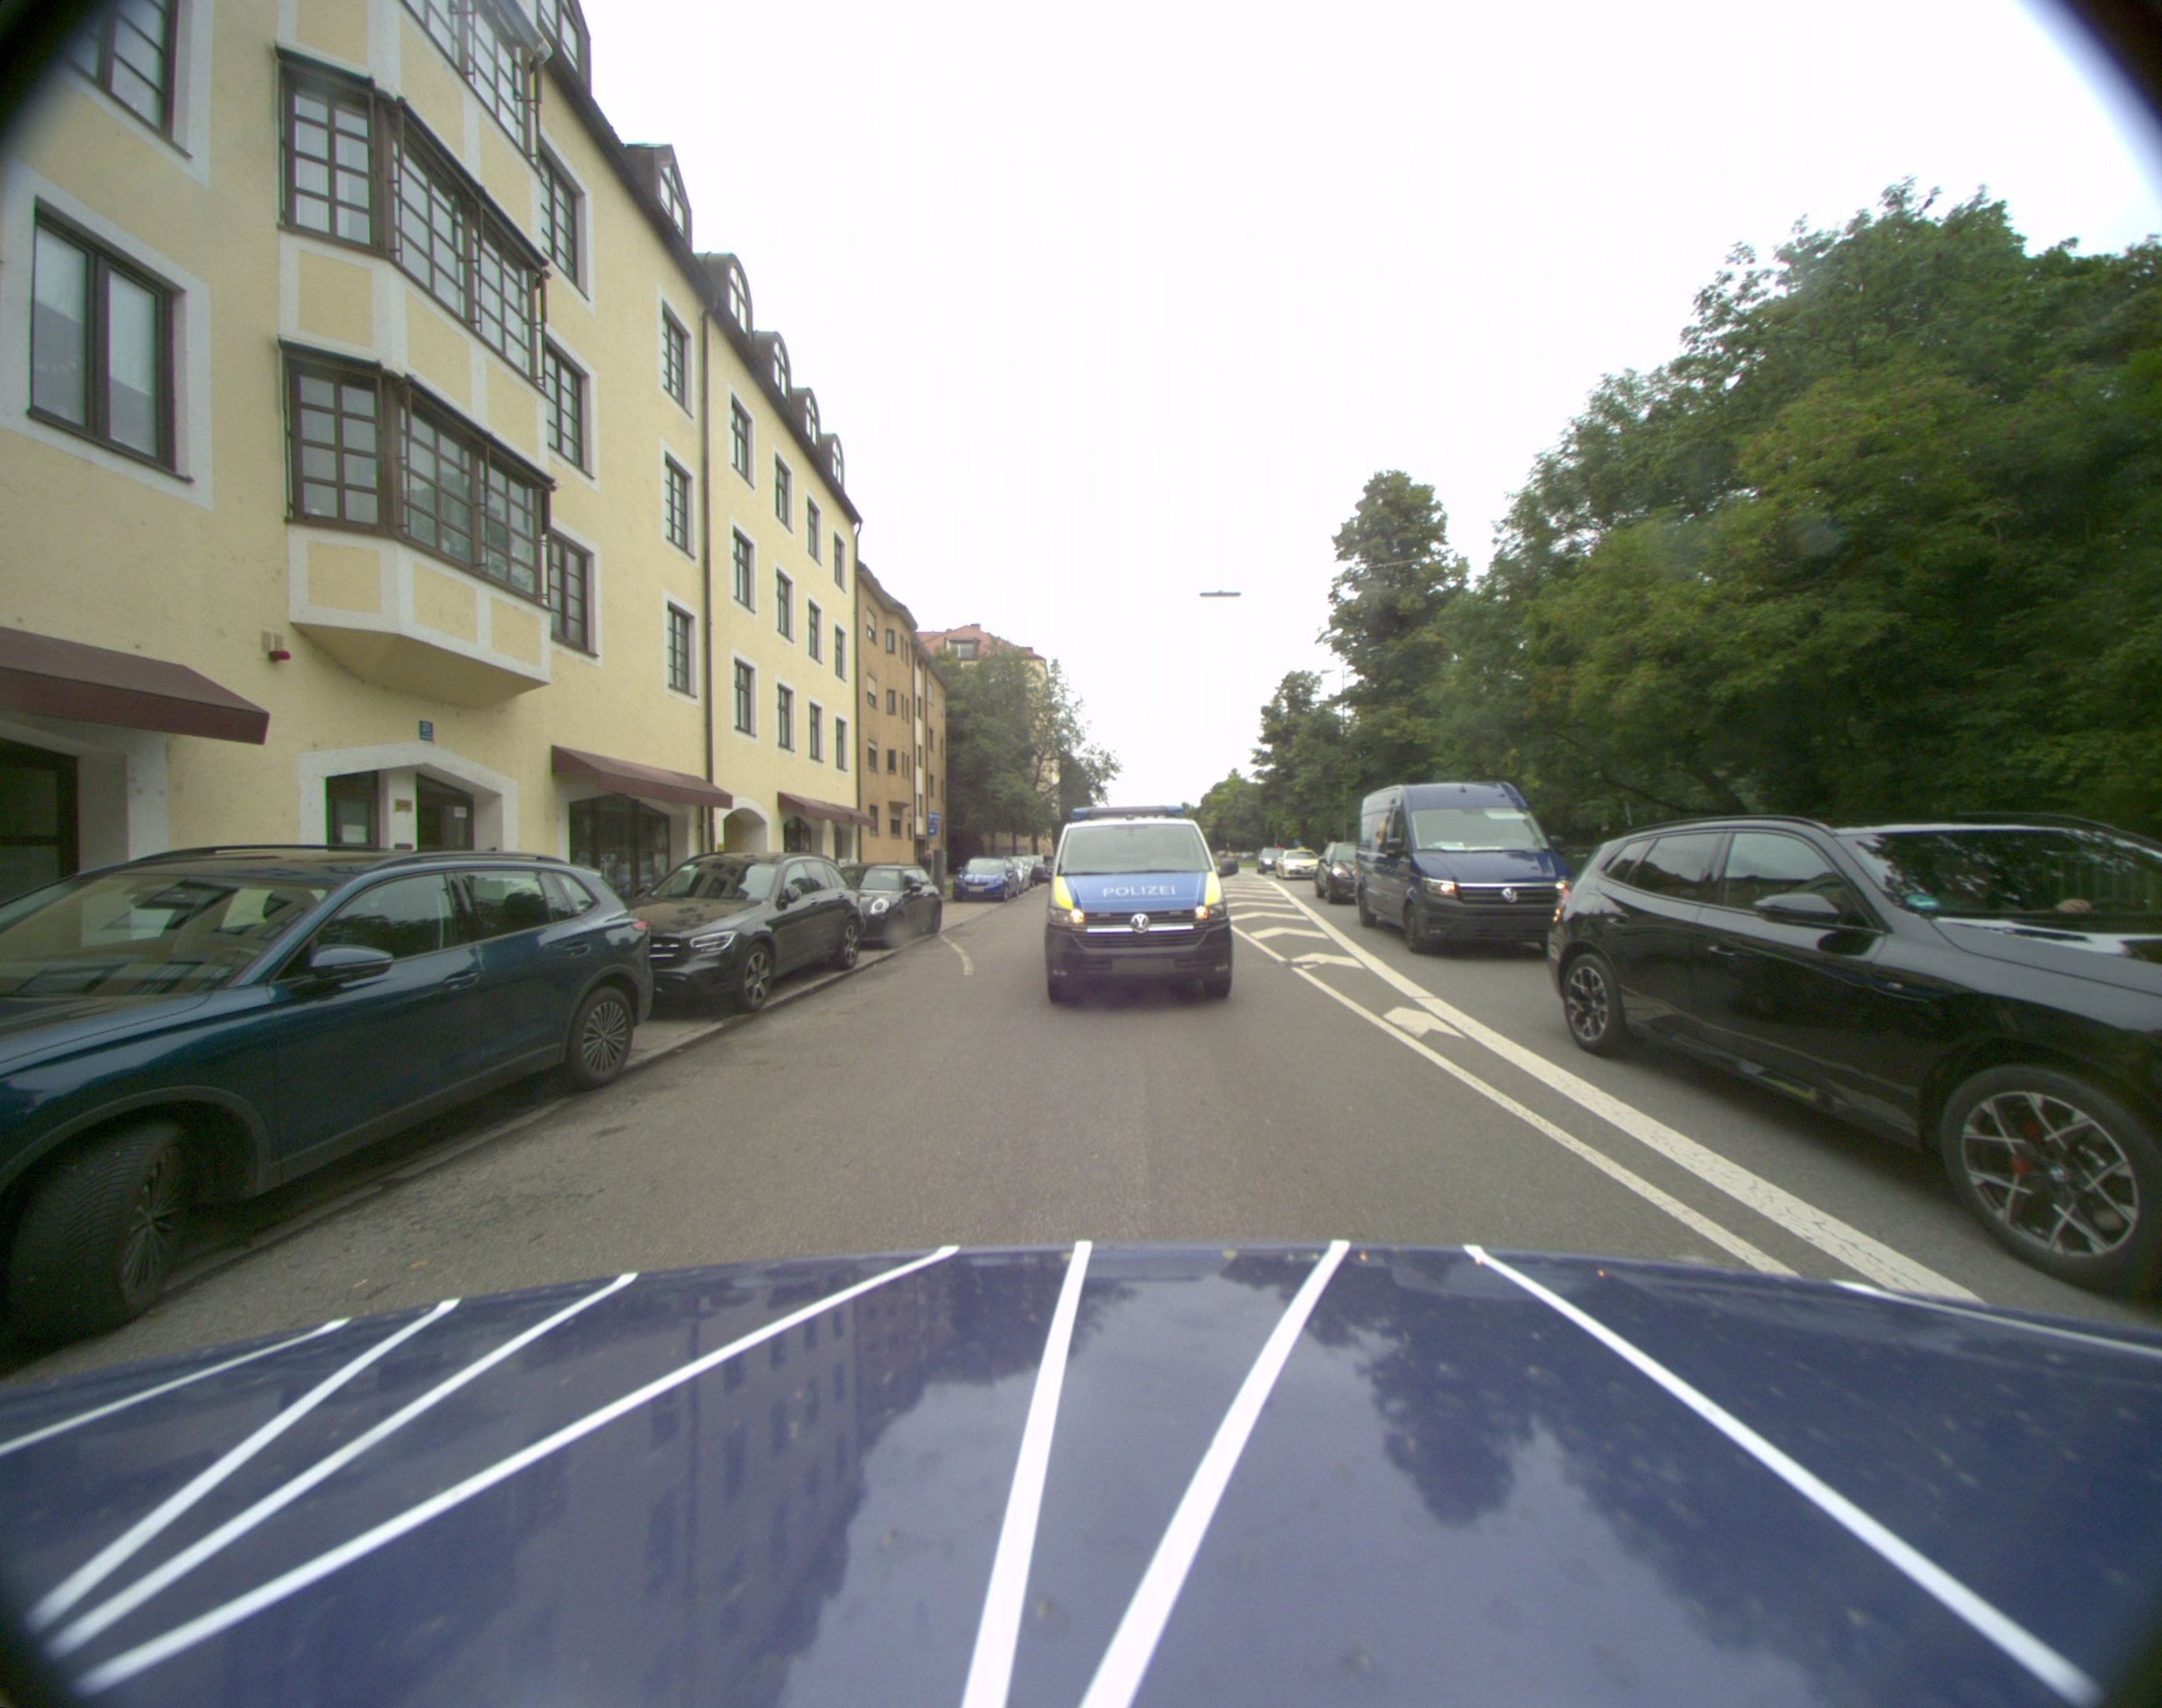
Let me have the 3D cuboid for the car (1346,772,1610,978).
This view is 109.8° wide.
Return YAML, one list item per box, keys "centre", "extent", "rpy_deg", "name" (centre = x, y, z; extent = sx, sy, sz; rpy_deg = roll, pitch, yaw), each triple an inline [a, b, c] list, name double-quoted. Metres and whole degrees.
- centre: [5.891, 0.209, 12.342]
  extent: [2.004, 2.477, 6.236]
  rpy_deg: [-1, 1, 10]
  name: "car"

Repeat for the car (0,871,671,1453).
- centre: [-4.282, 0.965, 3.758]
  extent: [2.112, 1.613, 4.495]
  rpy_deg: [-1, 0, -1]
  name: "car"

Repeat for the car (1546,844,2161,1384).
- centre: [4.276, 0.741, 3.579]
  extent: [1.920, 1.556, 4.295]
  rpy_deg: [0, 1, 7]
  name: "car"

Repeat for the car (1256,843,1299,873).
- centre: [12.438, 0.222, 48.347]
  extent: [2.314, 1.719, 5.219]
  rpy_deg: [-2, 0, 11]
  name: "car"

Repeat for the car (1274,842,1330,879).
- centre: [10.602, 0.277, 36.822]
  extent: [2.102, 1.581, 5.572]
  rpy_deg: [-2, 0, 11]
  name: "car"

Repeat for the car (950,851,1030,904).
- centre: [-3.095, 0.743, 26.997]
  extent: [1.883, 1.642, 5.617]
  rpy_deg: [1, 0, 3]
  name: "car"

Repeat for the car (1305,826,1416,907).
- centre: [7.801, 0.302, 21.821]
  extent: [2.005, 1.925, 5.810]
  rpy_deg: [-3, 0, 11]
  name: "car"

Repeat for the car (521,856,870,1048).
- centre: [-4.100, 0.898, 9.003]
  extent: [1.817, 1.580, 4.164]
  rpy_deg: [4, 1, 2]
  name: "car"

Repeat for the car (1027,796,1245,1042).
- centre: [0.525, 0.543, 9.463]
  extent: [1.826, 2.087, 5.632]
  rpy_deg: [-2, 1, 1]
  name: "car"

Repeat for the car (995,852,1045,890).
- centre: [-2.898, 0.769, 37.120]
  extent: [1.883, 1.642, 4.585]
  rpy_deg: [-2, 0, 2]
  name: "car"

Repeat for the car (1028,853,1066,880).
- centre: [-2.057, 0.746, 47.243]
  extent: [1.883, 1.474, 4.300]
  rpy_deg: [-2, 0, 3]
  name: "car"

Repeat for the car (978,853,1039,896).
- centre: [-3.000, 0.807, 32.249]
  extent: [1.883, 1.642, 4.617]
  rpy_deg: [-2, 0, 2]
  name: "car"

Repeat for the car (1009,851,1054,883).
- centre: [-2.662, 0.671, 41.856]
  extent: [1.883, 1.642, 4.300]
  rpy_deg: [-2, 0, 3]
  name: "car"

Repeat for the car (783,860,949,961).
- centre: [-3.787, 0.921, 14.122]
  extent: [1.764, 1.514, 3.933]
  rpy_deg: [1, 1, 3]
  name: "car"
